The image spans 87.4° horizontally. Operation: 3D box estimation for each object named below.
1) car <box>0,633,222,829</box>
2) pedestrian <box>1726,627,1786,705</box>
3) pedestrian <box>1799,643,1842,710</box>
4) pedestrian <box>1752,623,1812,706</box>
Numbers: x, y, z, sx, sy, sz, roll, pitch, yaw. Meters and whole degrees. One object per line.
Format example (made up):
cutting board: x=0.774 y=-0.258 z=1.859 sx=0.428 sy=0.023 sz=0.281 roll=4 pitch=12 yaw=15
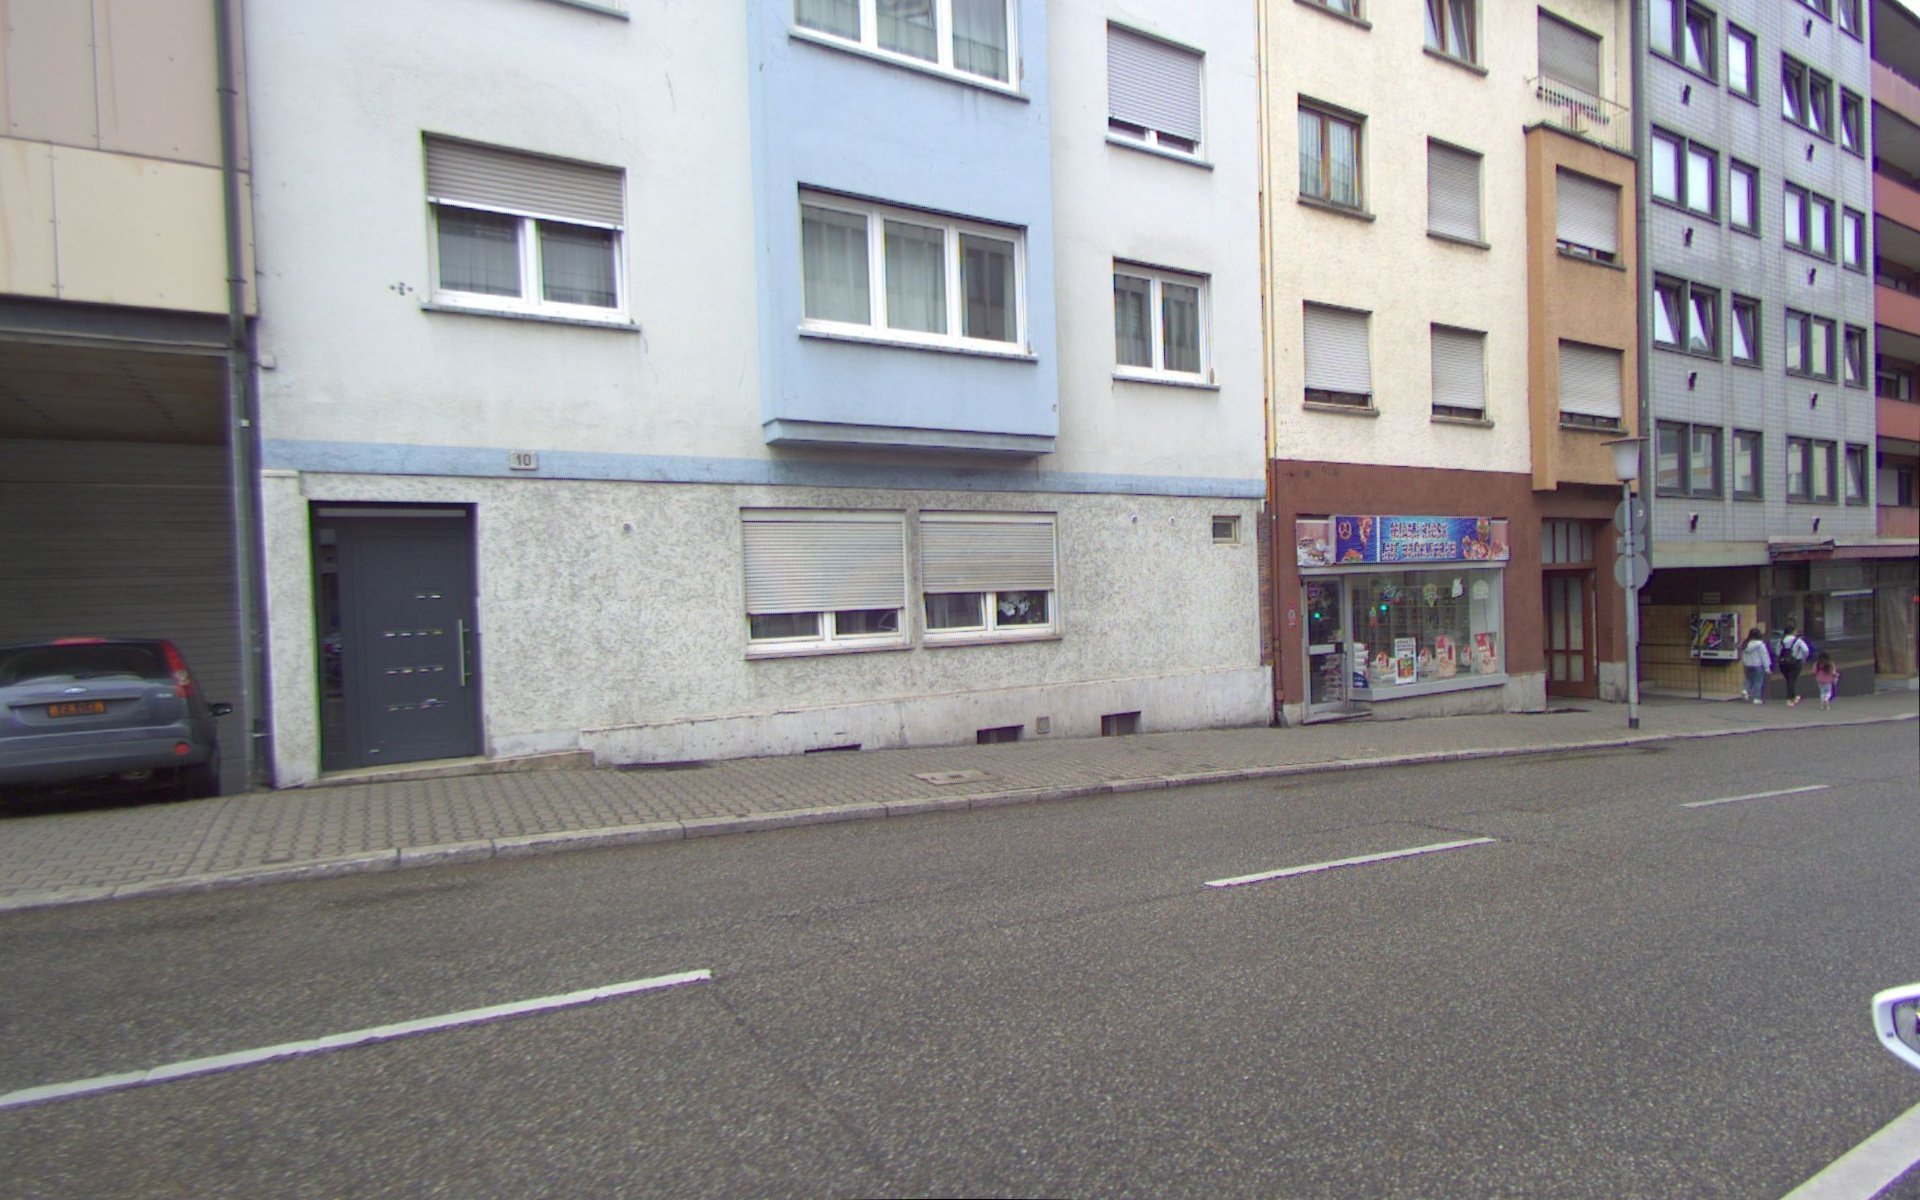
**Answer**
car: x=-7.736 y=1.203 z=9.093 sx=1.663 sy=1.367 sz=3.962 roll=-1 pitch=-6 yaw=-37
pedestrian: x=17.082 y=1.390 z=21.554 sx=0.717 sy=1.581 sz=0.821 roll=1 pitch=1 yaw=-39
pedestrian: x=18.189 y=1.605 z=21.227 sx=0.717 sy=1.341 sz=0.529 roll=1 pitch=1 yaw=-39
pedestrian: x=17.871 y=1.378 z=21.849 sx=0.717 sy=1.712 sz=0.821 roll=1 pitch=1 yaw=-39
